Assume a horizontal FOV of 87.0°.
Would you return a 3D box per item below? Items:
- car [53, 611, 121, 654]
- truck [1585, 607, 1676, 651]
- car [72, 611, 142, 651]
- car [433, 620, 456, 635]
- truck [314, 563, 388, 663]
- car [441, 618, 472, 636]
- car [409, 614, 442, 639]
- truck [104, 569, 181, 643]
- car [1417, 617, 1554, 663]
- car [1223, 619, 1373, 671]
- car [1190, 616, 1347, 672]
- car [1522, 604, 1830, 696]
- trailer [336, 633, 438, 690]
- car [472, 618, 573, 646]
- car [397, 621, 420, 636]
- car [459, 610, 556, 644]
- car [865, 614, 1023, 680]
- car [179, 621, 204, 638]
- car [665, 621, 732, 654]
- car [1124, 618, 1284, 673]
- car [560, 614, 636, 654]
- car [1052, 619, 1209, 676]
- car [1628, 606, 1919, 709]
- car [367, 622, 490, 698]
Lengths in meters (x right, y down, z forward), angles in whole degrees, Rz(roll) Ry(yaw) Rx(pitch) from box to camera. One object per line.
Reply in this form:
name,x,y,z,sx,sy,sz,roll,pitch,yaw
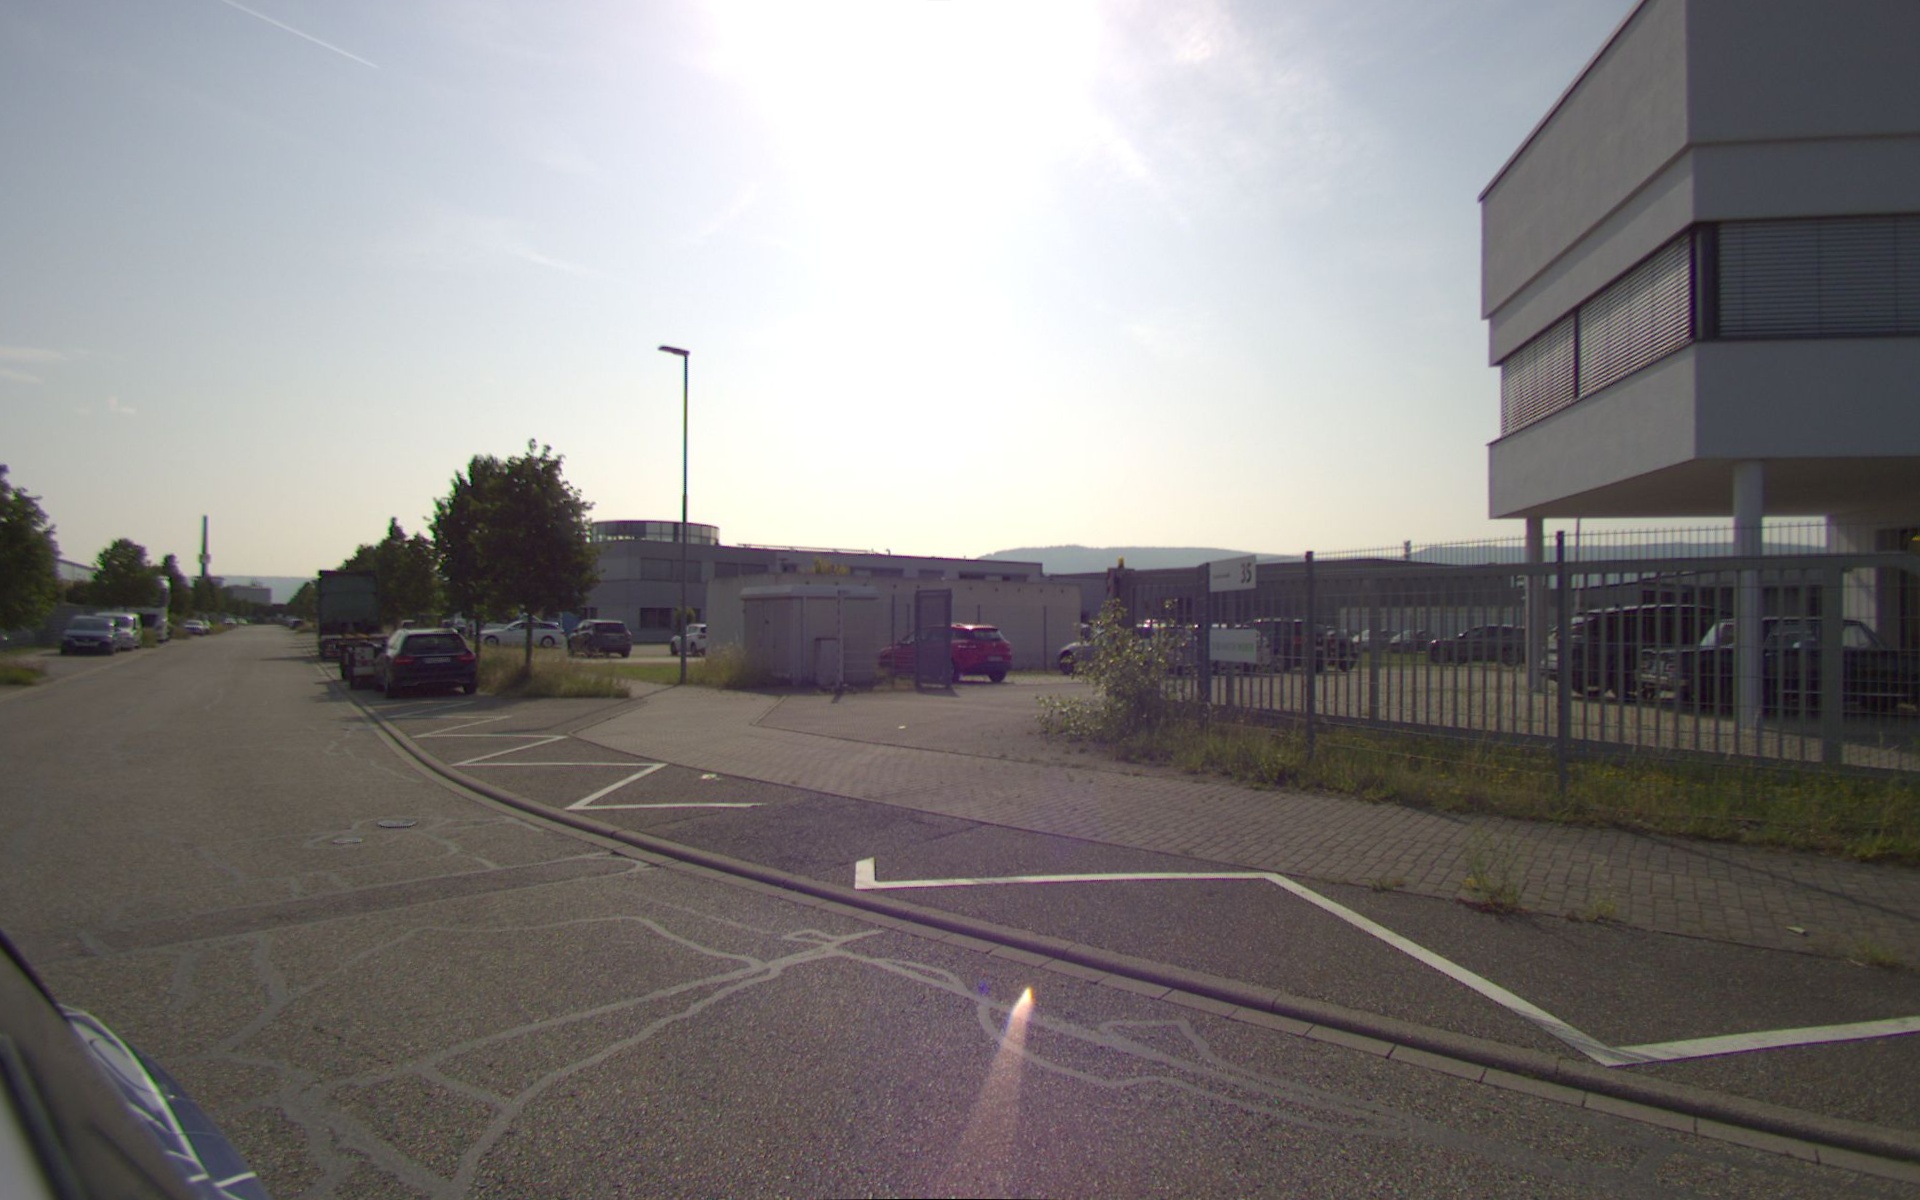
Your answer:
car,-37.891,1.374,44.015,1.801,1.733,4.259,1,0,-35
truck,39.718,1.691,60.029,1.966,2.533,4.012,1,-2,-29
car,-40.613,1.432,48.289,1.966,1.803,4.612,1,0,-33
car,-53.962,2.864,105.911,1.730,1.479,3.929,1,-2,-33
truck,-26.765,0.514,44.262,2.422,3.911,9.830,-1,0,-33
car,-47.224,2.551,94.893,1.916,1.619,4.520,1,-2,-35
car,-44.747,2.253,84.724,1.856,2.029,5.004,2,-2,-34
truck,-49.705,0.466,61.746,2.709,4.046,9.710,4,-3,-35
car,20.978,1.558,40.525,1.958,1.741,4.464,1,-2,-38
car,11.266,1.506,33.997,1.909,1.616,4.488,1,-3,-35
car,9.564,1.367,31.718,1.909,1.616,4.488,1,-3,-35
car,12.367,0.840,17.769,3.957,1.499,1.862,0,-1,11
trailer,-15.726,1.575,27.556,2.101,1.242,7.177,-1,-1,-32
car,-23.506,1.694,54.433,4.664,1.442,2.005,1,-1,-36
car,-56.731,2.919,104.041,1.730,1.420,3.929,1,-2,-33
car,-25.274,1.484,56.571,4.641,1.850,2.108,1,-1,-34
car,-0.496,1.175,25.834,1.748,1.537,4.311,1,-3,-39
car,-73.571,2.844,96.916,1.642,1.515,3.550,3,-3,-35
car,-12.546,1.771,48.386,1.682,1.527,4.223,2,-2,-36
car,7.195,1.350,30.259,1.909,1.506,4.488,1,-3,-35
car,-16.280,1.515,45.401,1.967,1.699,4.710,2,-2,-36
car,4.795,1.333,29.097,1.808,1.506,4.488,1,-3,-35
car,12.417,0.812,14.967,3.879,1.426,1.558,0,-1,11
car,-12.002,1.269,22.704,1.967,1.478,4.444,-1,-1,-34
